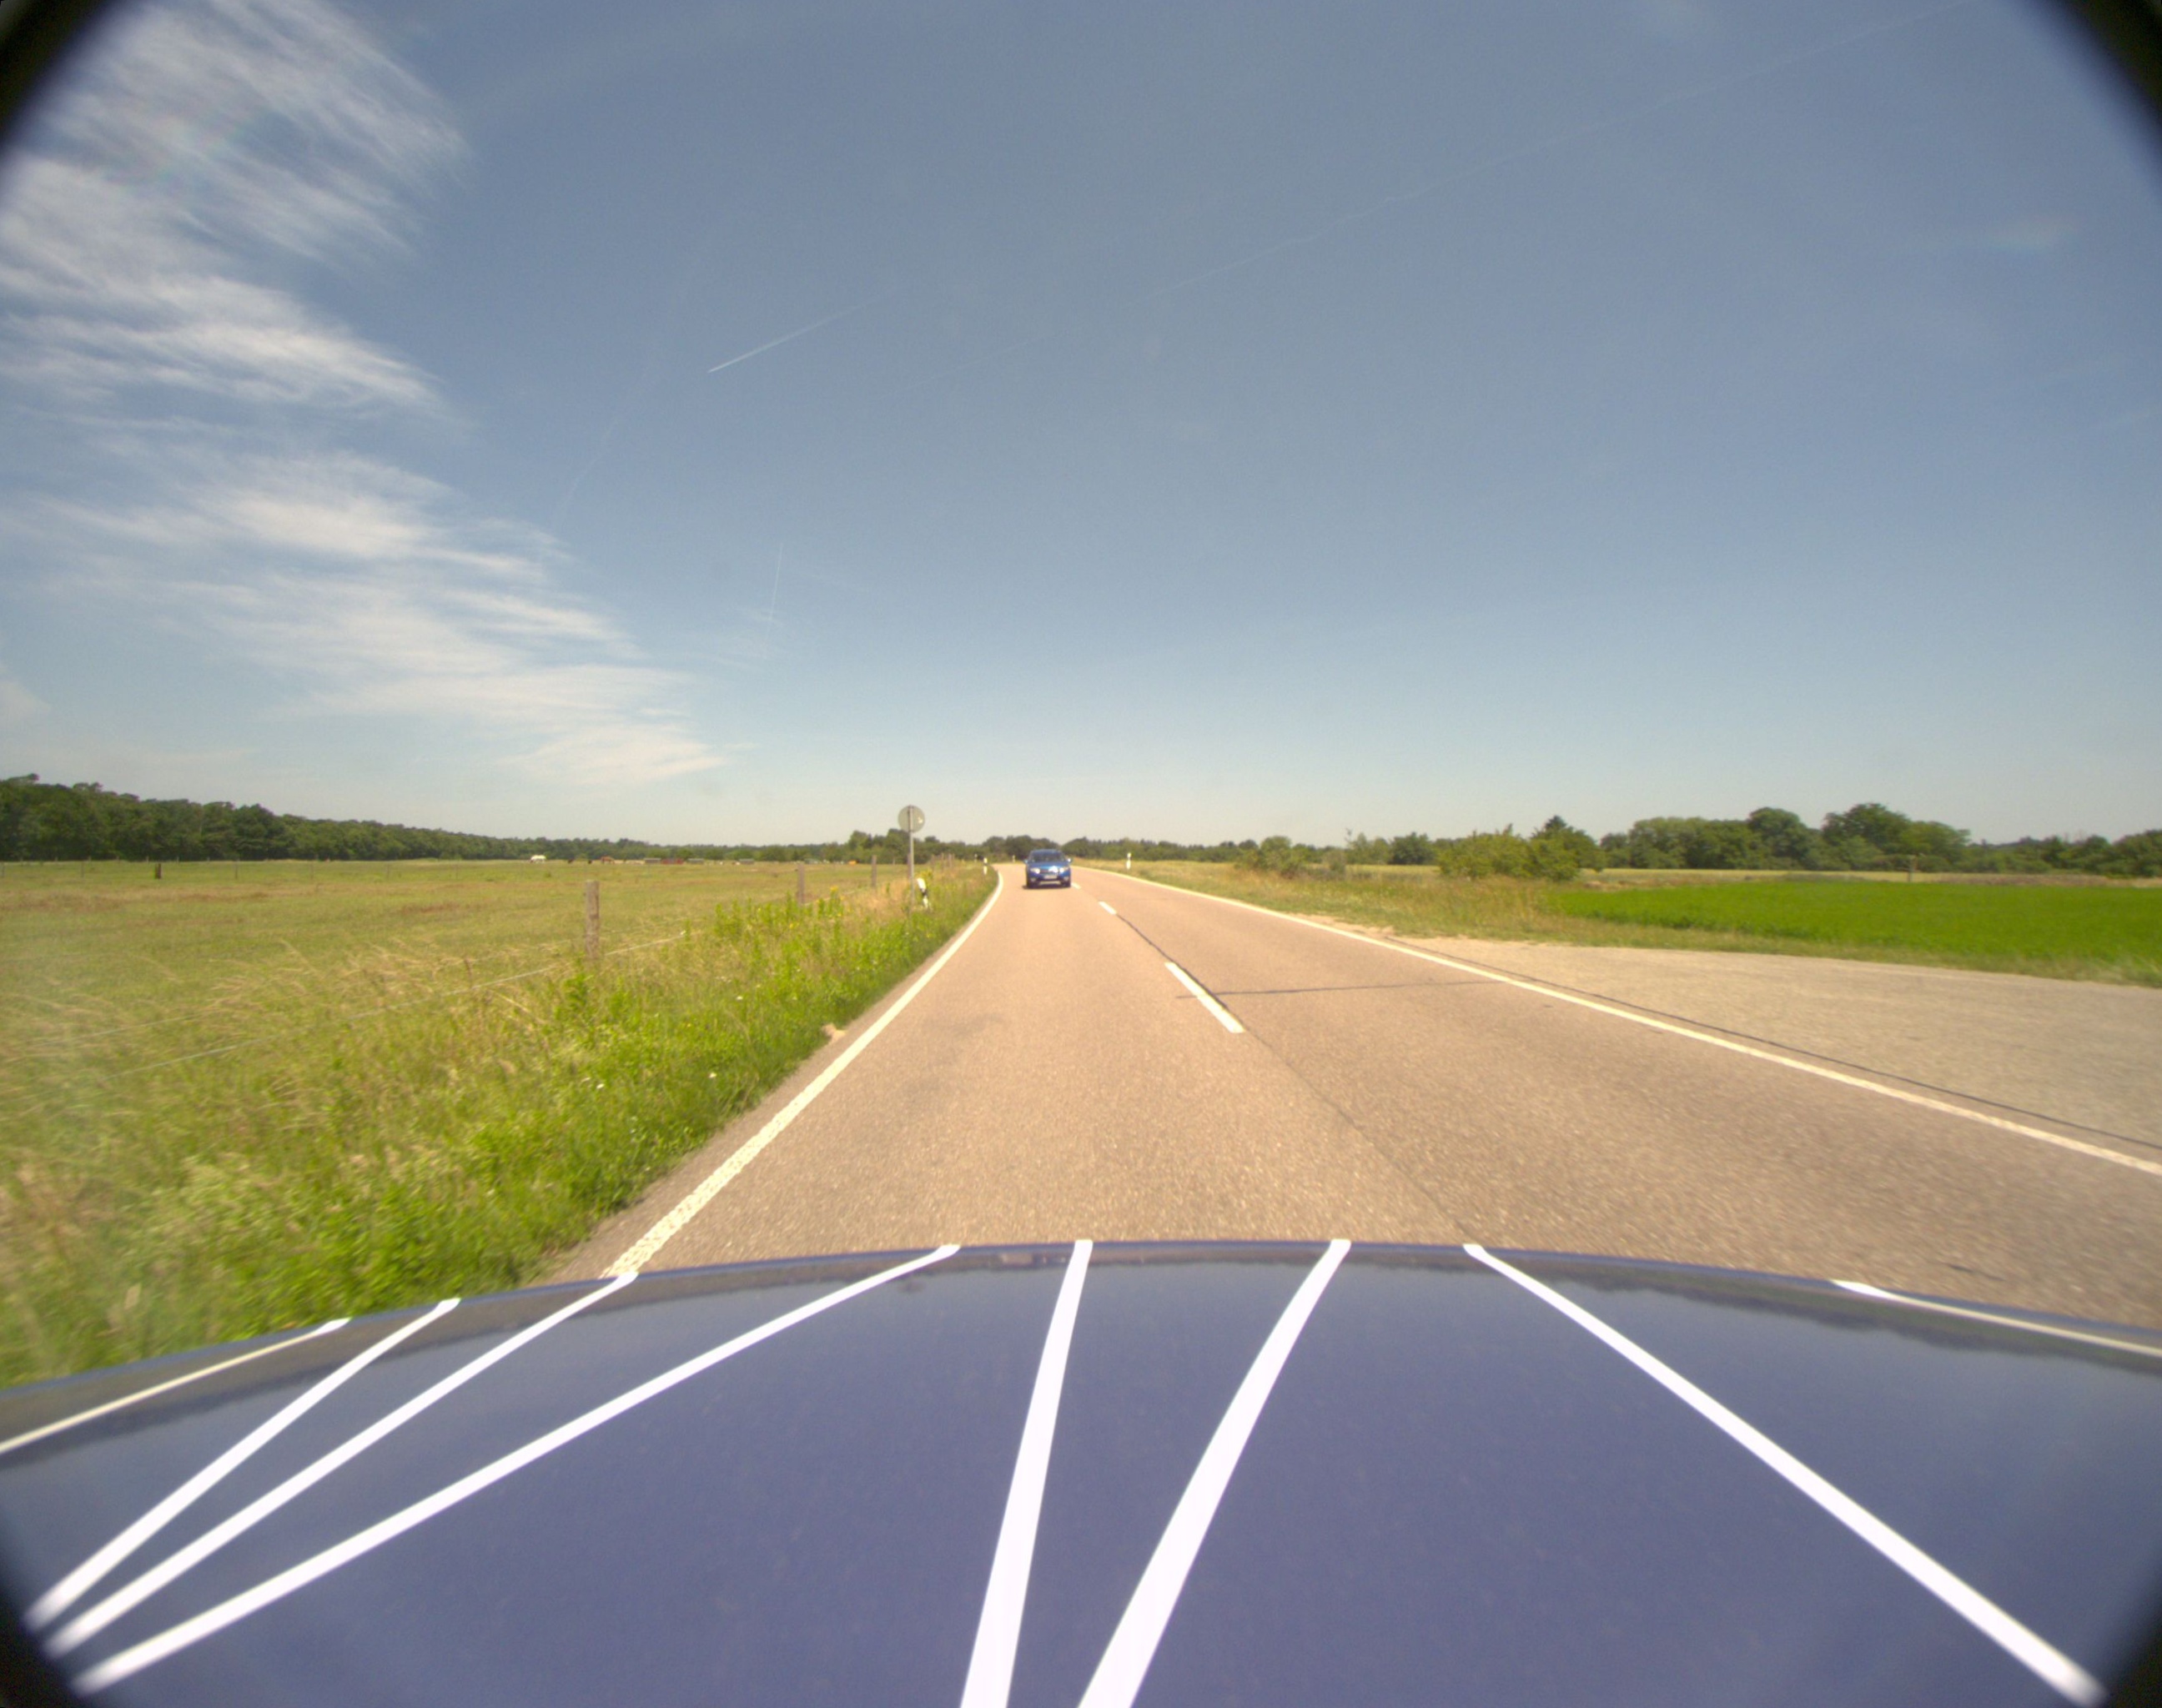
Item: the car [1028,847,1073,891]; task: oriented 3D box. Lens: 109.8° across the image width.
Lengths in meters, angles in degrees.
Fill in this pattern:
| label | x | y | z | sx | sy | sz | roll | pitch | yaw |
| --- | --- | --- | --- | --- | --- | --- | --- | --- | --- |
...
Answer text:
| label | x | y | z | sx | sy | sz | roll | pitch | yaw |
| --- | --- | --- | --- | --- | --- | --- | --- | --- | --- |
| car | -1.328 | 0.569 | 31.754 | 1.735 | 1.572 | 3.997 | -2 | 2 | -4 |
